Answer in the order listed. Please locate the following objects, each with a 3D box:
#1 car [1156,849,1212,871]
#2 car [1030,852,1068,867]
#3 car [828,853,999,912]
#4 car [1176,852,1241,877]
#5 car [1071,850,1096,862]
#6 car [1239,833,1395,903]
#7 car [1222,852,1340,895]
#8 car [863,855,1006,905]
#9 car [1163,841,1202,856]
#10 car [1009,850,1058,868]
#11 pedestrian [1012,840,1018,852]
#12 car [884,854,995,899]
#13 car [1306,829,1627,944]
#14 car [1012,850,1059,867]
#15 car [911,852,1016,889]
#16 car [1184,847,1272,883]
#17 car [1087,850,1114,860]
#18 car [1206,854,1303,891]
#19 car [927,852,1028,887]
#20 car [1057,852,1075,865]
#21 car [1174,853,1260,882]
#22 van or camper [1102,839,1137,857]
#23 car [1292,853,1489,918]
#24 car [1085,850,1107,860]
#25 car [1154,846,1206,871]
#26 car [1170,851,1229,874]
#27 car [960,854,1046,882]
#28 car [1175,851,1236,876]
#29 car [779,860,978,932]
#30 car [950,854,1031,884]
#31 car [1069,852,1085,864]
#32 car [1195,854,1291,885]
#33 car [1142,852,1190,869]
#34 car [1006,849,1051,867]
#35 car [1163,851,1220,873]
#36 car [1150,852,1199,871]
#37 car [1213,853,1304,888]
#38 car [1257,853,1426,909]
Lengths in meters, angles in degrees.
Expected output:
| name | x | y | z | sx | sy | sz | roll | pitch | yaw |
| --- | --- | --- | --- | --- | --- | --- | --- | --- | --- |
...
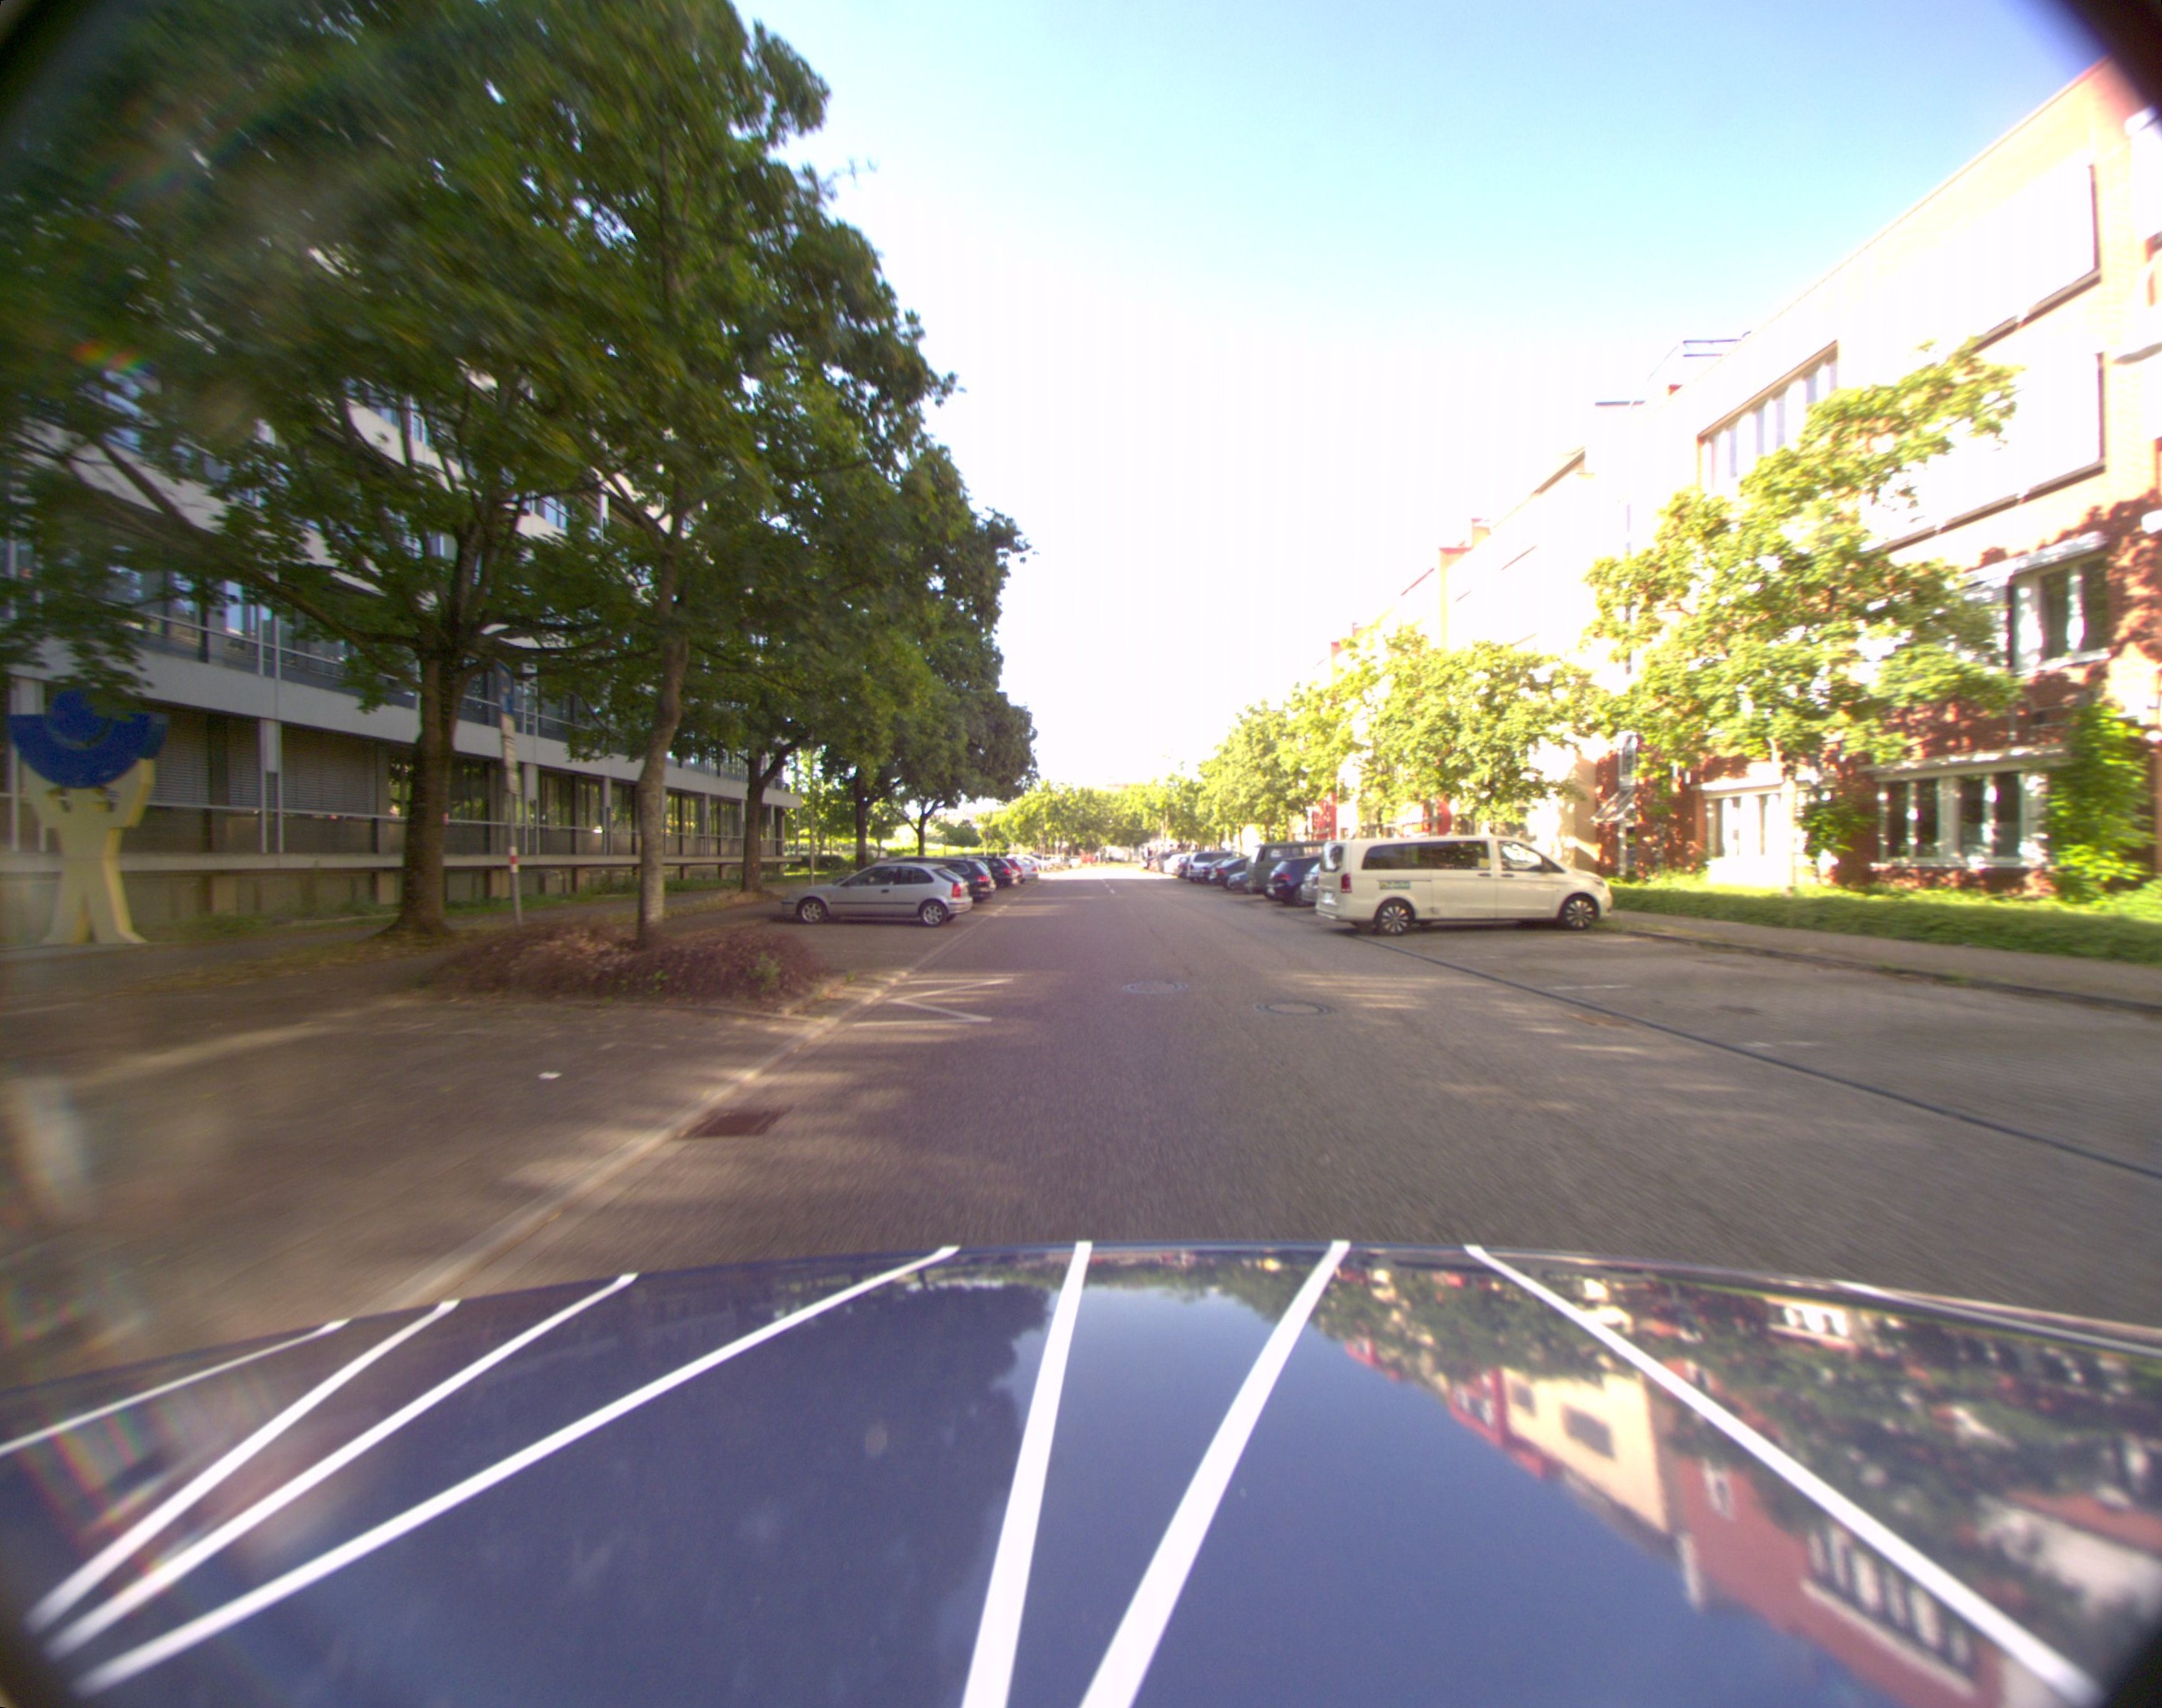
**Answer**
| name | x | y | z | sx | sy | sz | roll | pitch | yaw |
| --- | --- | --- | --- | --- | --- | --- | --- | --- | --- |
| car | 7.745 | 0.447 | 57.491 | 3.902 | 1.565 | 1.859 | -2 | 0 | 0 |
| car | -3.668 | 0.643 | 88.201 | 4.096 | 1.421 | 1.643 | 4 | 1 | 7 |
| car | -4.792 | 0.796 | 22.218 | 4.603 | 1.484 | 1.762 | 2 | 1 | -2 |
| car | 7.983 | 0.623 | 47.662 | 3.736 | 1.419 | 1.840 | -2 | 0 | 0 |
| car | 0.416 | 0.303 | 117.044 | 3.438 | 1.535 | 1.629 | 3 | 1 | 14 |
| car | 7.708 | 0.440 | 25.181 | 4.498 | 2.078 | 2.083 | -2 | 1 | 2 |
| car | 7.794 | 0.735 | 29.846 | 4.142 | 1.519 | 1.725 | -2 | 0 | 0 |
| car | -4.776 | 0.819 | 25.203 | 4.296 | 1.484 | 2.004 | 1 | 1 | 1 |
| car | 13.571 | -0.745 | 101.702 | 4.776 | 1.973 | 1.996 | -1 | 0 | -23 |
| car | -4.598 | 0.510 | 72.742 | 4.563 | 1.506 | 1.981 | 2 | 1 | -5 |
| pedestrian | -9.019 | -1.097 | 104.123 | 0.608 | 1.533 | 0.937 | 0 | 1 | 7 |
| car | -5.035 | 0.804 | 27.478 | 3.754 | 1.484 | 1.616 | 1 | 1 | -4 |
| car | 7.376 | 0.598 | 14.967 | 5.270 | 1.955 | 1.943 | -2 | 1 | 2 |
| car | -4.628 | 0.443 | 77.790 | 4.560 | 1.506 | 2.158 | 2 | 1 | 1 |
| car | -5.233 | 0.732 | 34.340 | 4.528 | 1.533 | 1.921 | 1 | 1 | -4 |
| car | 7.674 | 0.569 | 39.902 | 4.330 | 1.707 | 1.963 | -2 | 0 | 5 |
| car | 3.308 | 0.195 | 129.748 | 4.199 | 1.537 | 1.861 | 3 | 1 | 14 |
| car | 7.355 | 0.762 | 32.419 | 3.735 | 1.419 | 1.725 | -2 | 0 | 1 |
| car | -4.962 | 0.733 | 36.845 | 4.525 | 1.533 | 1.922 | 1 | 1 | 4 |
| car | -1.877 | 0.527 | 96.654 | 1.813 | 1.485 | 4.624 | 3 | 1 | 3 |
| car | 7.491 | 0.711 | 42.170 | 4.414 | 1.419 | 1.772 | -2 | 0 | -1 |
| van or camper | 7.134 | -1.147 | 139.779 | 5.990 | 2.967 | 2.673 | 3 | 1 | 11 |
| car | 7.920 | 0.789 | 19.777 | 4.331 | 1.469 | 1.943 | -2 | 0 | 2 |
| car | 2.534 | 0.226 | 127.231 | 3.467 | 1.471 | 1.861 | 3 | 1 | 11 |
| car | 7.811 | 0.360 | 60.090 | 3.901 | 1.801 | 1.786 | -2 | 1 | 1 |
| car | 8.178 | 0.589 | 52.567 | 3.736 | 1.439 | 1.859 | -2 | 0 | -3 |
| car | -4.303 | 0.774 | 42.221 | 4.589 | 1.467 | 1.747 | 0 | 1 | 0 |
| car | 8.184 | 0.584 | 50.166 | 3.736 | 1.500 | 1.859 | -2 | 0 | 0 |
| car | -4.438 | 0.900 | 17.088 | 3.979 | 1.412 | 1.710 | 1 | 1 | 0 |
| car | -4.692 | 0.748 | 39.754 | 3.846 | 1.438 | 1.922 | 1 | 1 | 4 |
| car | -0.500 | 0.505 | 103.601 | 1.646 | 1.485 | 3.767 | 3 | 1 | 8 |
| car | 7.948 | 0.736 | 37.543 | 4.332 | 1.350 | 1.757 | -2 | 0 | 0 |
| car | 7.799 | 0.603 | 69.797 | 4.272 | 1.415 | 1.740 | -2 | 0 | 4 |
| car | -4.836 | 0.374 | 70.062 | 3.957 | 1.506 | 1.701 | 2 | 1 | 1 |
| car | 7.927 | 0.585 | 54.923 | 3.736 | 1.439 | 1.875 | -2 | 0 | -3 |
| car | 7.984 | 0.629 | 65.017 | 3.901 | 1.415 | 1.739 | -2 | 0 | 1 |
| car | 8.116 | 0.739 | 34.913 | 3.736 | 1.419 | 1.725 | -2 | 0 | 0 |
| car | 7.597 | 0.769 | 22.485 | 4.331 | 1.469 | 1.943 | -2 | 0 | 2 |
